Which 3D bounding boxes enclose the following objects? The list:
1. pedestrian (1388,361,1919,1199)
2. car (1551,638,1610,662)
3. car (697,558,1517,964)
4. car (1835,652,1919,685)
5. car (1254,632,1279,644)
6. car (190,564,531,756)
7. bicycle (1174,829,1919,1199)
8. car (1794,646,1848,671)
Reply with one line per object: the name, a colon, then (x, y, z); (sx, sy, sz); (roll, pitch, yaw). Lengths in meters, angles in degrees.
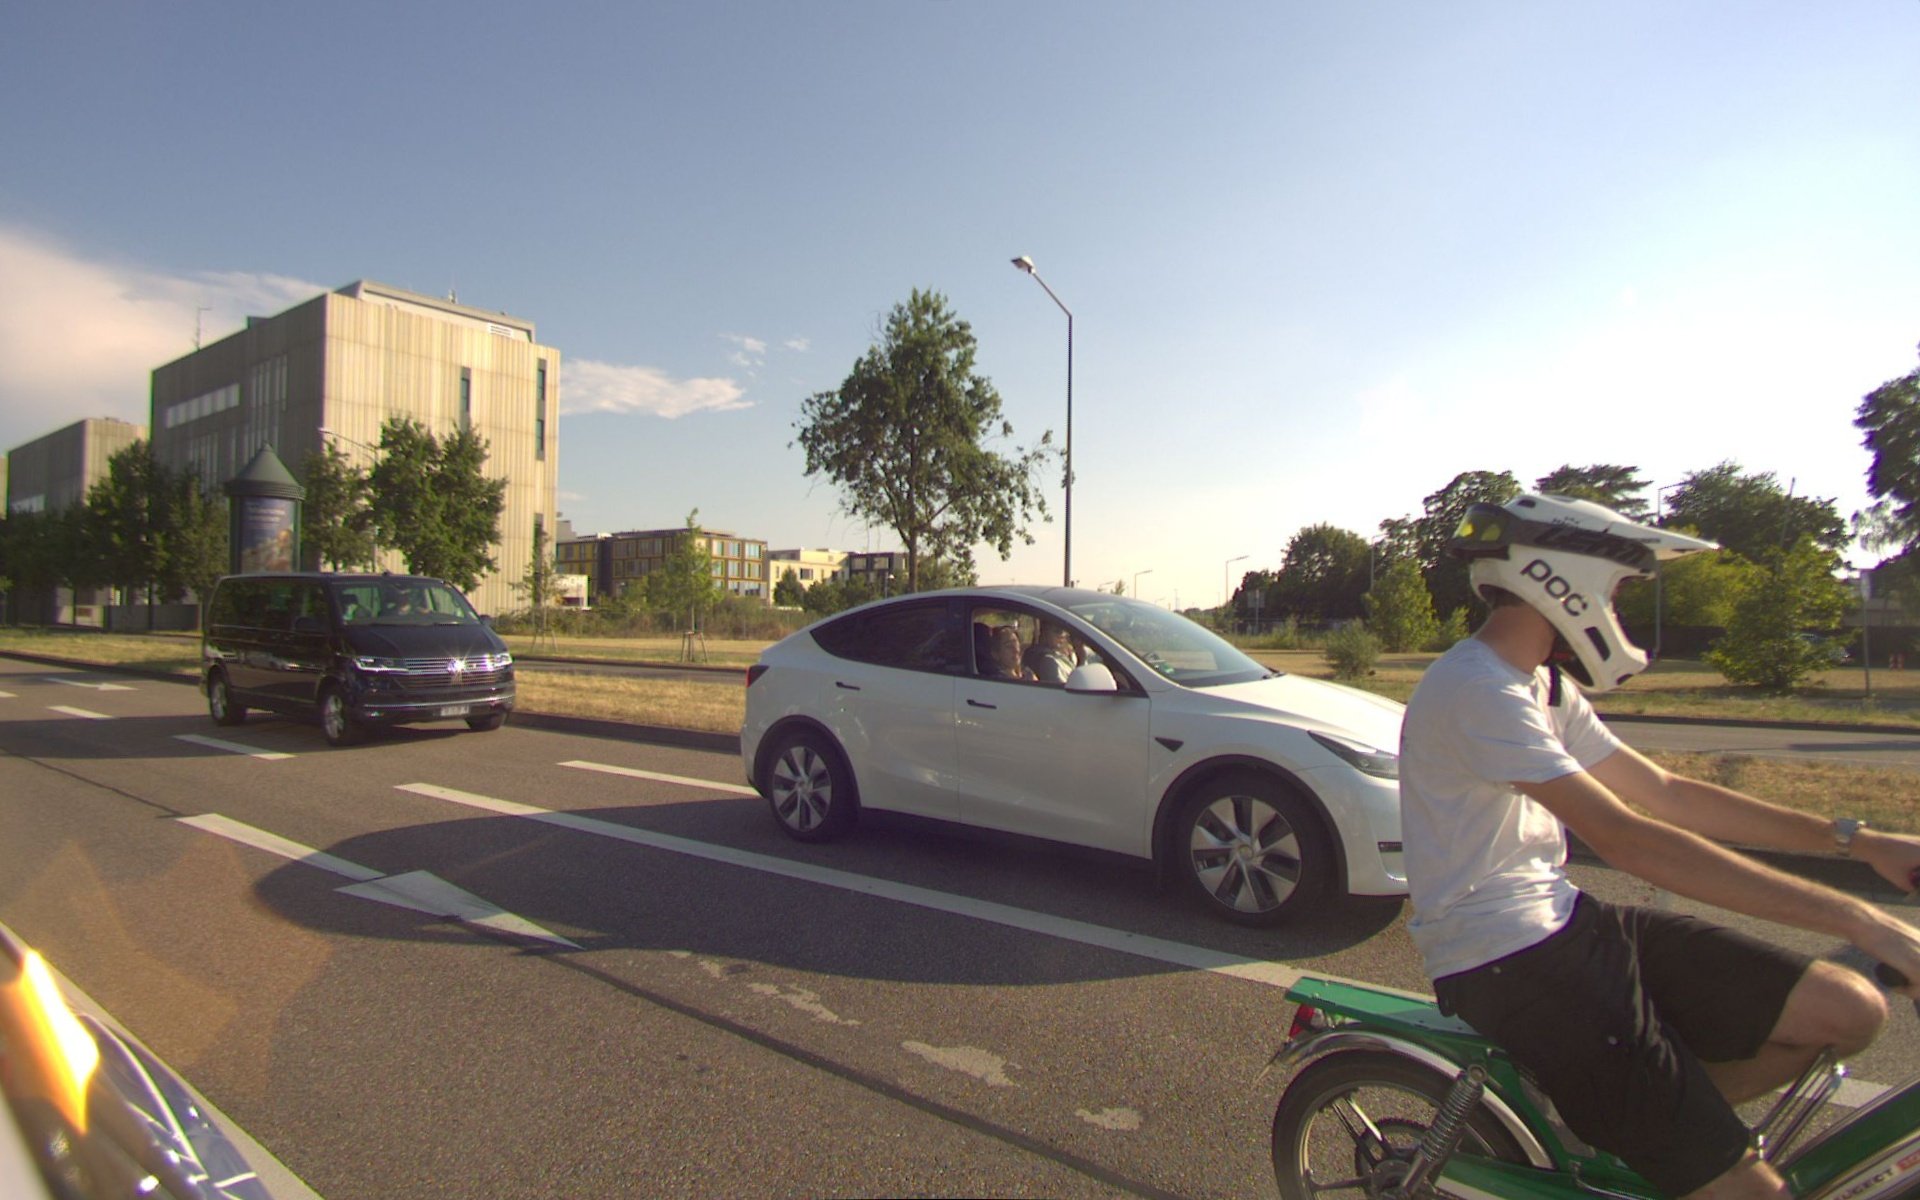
pedestrian: (1.265, 0.470, 1.681); (0.854, 1.530, 0.649); (-1, -3, 41)
car: (42.426, 3.406, 69.314); (1.557, 1.558, 3.383); (1, -2, -10)
car: (0.600, 0.677, 6.129); (4.669, 1.611, 1.719); (-1, -1, 37)
car: (47.458, 3.462, 51.422); (1.629, 1.537, 4.411); (1, -2, -12)
car: (32.035, 3.974, 105.931); (1.315, 1.302, 2.810); (1, -2, -10)
car: (-7.548, 0.632, 12.534); (5.003, 1.947, 1.839); (-1, -1, 36)
bicycle: (1.287, 0.970, 1.633); (1.855, 0.882, 0.472); (-1, -3, 41)
car: (44.521, 2.994, 52.380); (0.755, 1.245, 2.093); (1, -2, -10)
